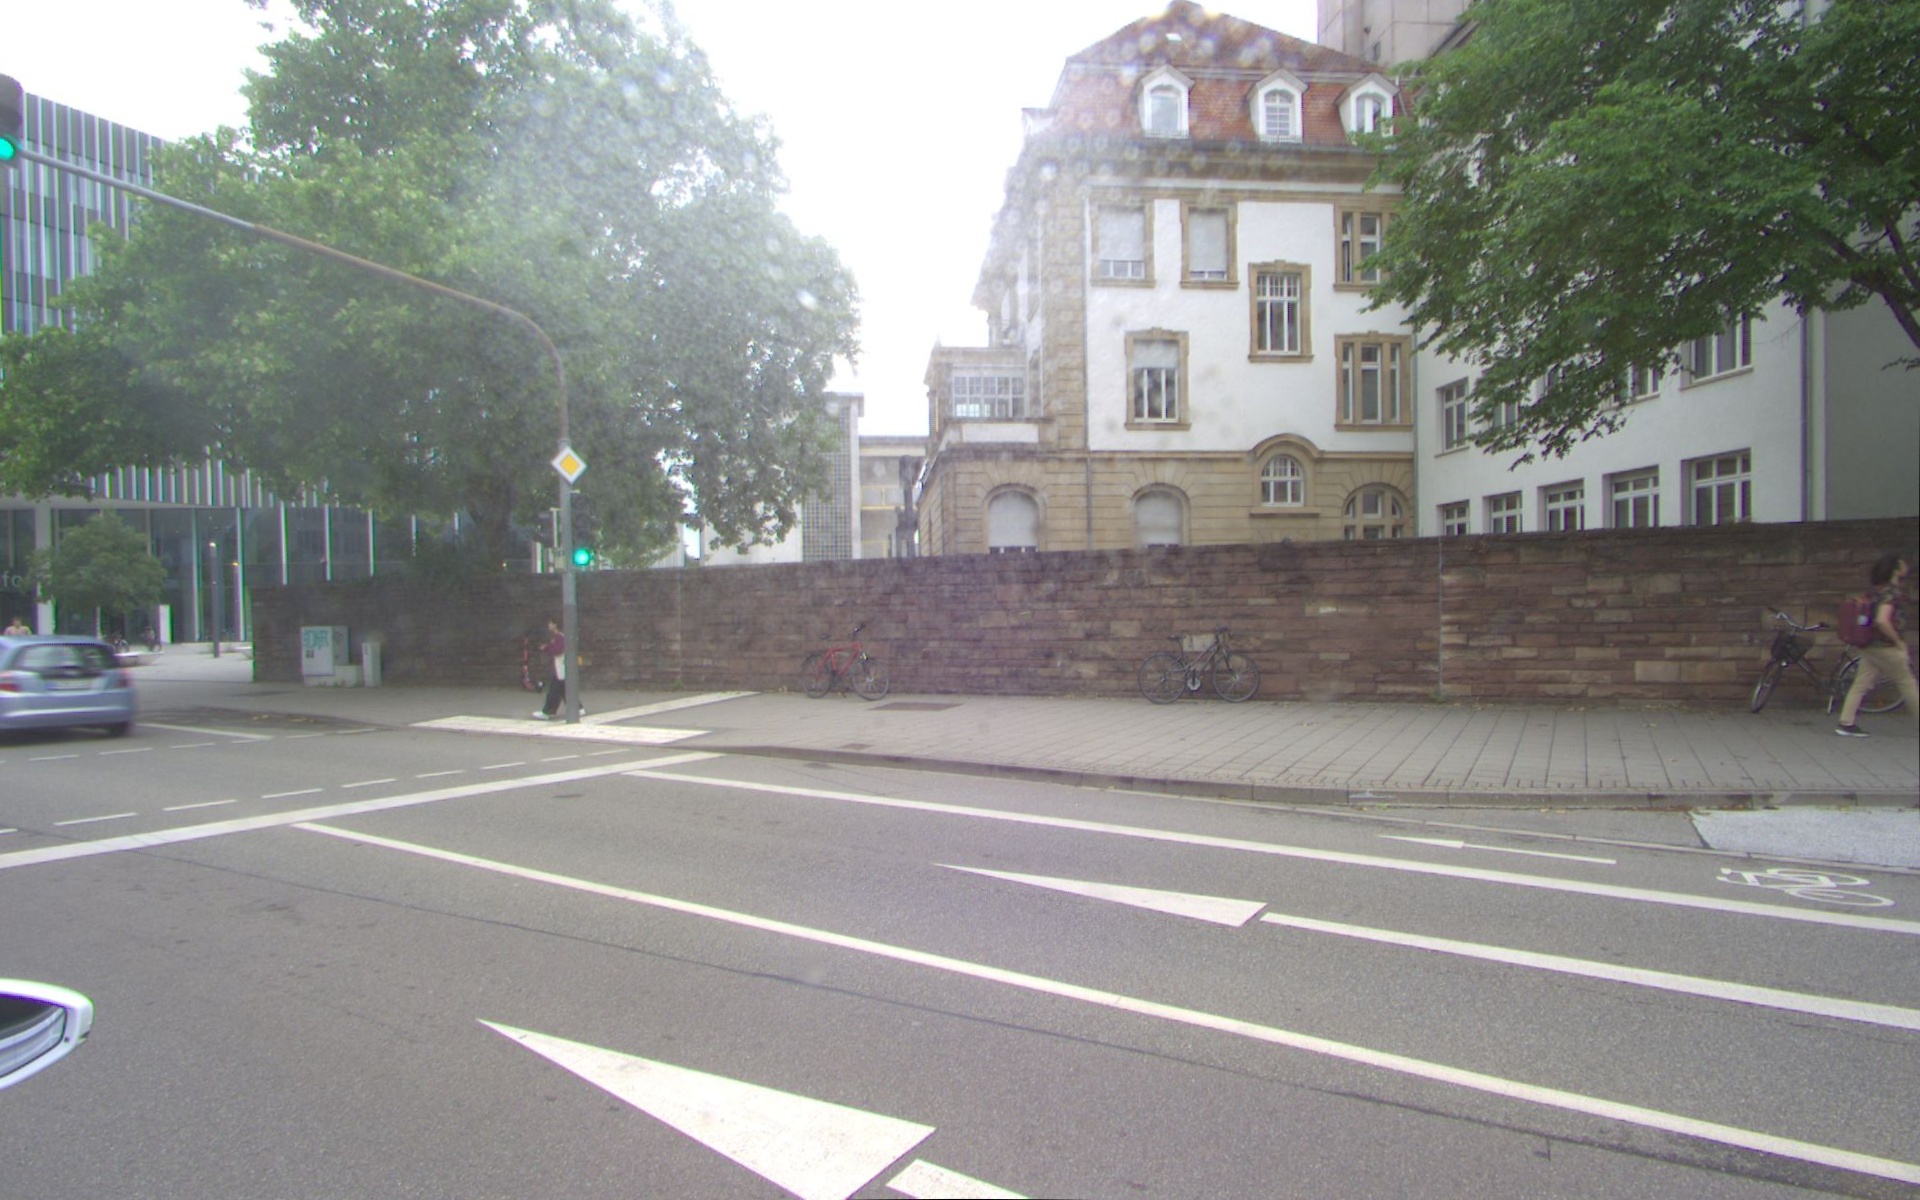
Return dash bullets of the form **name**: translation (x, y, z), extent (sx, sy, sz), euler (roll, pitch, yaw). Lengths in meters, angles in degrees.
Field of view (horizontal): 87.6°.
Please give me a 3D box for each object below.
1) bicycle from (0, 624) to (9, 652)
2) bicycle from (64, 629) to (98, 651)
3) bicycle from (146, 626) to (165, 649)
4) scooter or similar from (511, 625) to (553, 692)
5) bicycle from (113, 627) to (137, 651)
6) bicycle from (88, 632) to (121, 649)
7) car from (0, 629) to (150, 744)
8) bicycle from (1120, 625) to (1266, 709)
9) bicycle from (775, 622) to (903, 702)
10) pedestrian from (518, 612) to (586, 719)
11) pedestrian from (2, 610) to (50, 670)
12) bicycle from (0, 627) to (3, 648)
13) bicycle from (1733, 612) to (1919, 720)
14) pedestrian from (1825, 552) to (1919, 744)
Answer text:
- **bicycle**: translation (-46.273, 1.820, 48.203), extent (0.522, 1.270, 1.652), euler (-3, 2, -39)
- **bicycle**: translation (-42.437, 1.929, 48.362), extent (0.686, 0.959, 1.975), euler (-2, 1, -27)
- **bicycle**: translation (-39.226, 1.821, 48.838), extent (0.616, 1.070, 1.933), euler (-2, 2, -38)
- **scooter or similar**: translation (-8.360, 1.121, 19.545), extent (0.427, 1.195, 1.693), euler (-3, 2, -33)
- **bicycle**: translation (-40.478, 1.860, 48.558), extent (0.802, 1.070, 1.933), euler (-2, 2, -38)
- **bicycle**: translation (-41.621, 1.985, 48.714), extent (0.510, 0.726, 1.525), euler (-1, 1, -11)
- **car**: translation (-13.619, 1.175, 14.582), extent (3.605, 1.485, 1.664), euler (-1, -1, 30)
- **bicycle**: translation (3.309, 0.927, 14.156), extent (1.934, 1.088, 0.941), euler (-1, 2, 17)
- **bicycle**: translation (-1.969, 0.985, 16.301), extent (1.923, 1.190, 0.802), euler (-1, 3, 27)
- **pedestrian**: translation (-6.362, 1.007, 15.629), extent (0.627, 1.584, 0.658), euler (0, 5, 32)
- **pedestrian**: translation (-28.555, 1.216, 30.618), extent (0.756, 1.789, 0.845), euler (0, 2, 32)
- **bicycle**: translation (-48.436, 1.901, 49.935), extent (0.613, 1.060, 1.696), euler (-2, 2, -31)
- **bicycle**: translation (10.171, 0.742, 11.481), extent (1.889, 1.143, 0.849), euler (-1, 2, 17)
- **pedestrian**: translation (9.316, 0.458, 9.926), extent (1.018, 1.846, 0.629), euler (0, 2, 32)
